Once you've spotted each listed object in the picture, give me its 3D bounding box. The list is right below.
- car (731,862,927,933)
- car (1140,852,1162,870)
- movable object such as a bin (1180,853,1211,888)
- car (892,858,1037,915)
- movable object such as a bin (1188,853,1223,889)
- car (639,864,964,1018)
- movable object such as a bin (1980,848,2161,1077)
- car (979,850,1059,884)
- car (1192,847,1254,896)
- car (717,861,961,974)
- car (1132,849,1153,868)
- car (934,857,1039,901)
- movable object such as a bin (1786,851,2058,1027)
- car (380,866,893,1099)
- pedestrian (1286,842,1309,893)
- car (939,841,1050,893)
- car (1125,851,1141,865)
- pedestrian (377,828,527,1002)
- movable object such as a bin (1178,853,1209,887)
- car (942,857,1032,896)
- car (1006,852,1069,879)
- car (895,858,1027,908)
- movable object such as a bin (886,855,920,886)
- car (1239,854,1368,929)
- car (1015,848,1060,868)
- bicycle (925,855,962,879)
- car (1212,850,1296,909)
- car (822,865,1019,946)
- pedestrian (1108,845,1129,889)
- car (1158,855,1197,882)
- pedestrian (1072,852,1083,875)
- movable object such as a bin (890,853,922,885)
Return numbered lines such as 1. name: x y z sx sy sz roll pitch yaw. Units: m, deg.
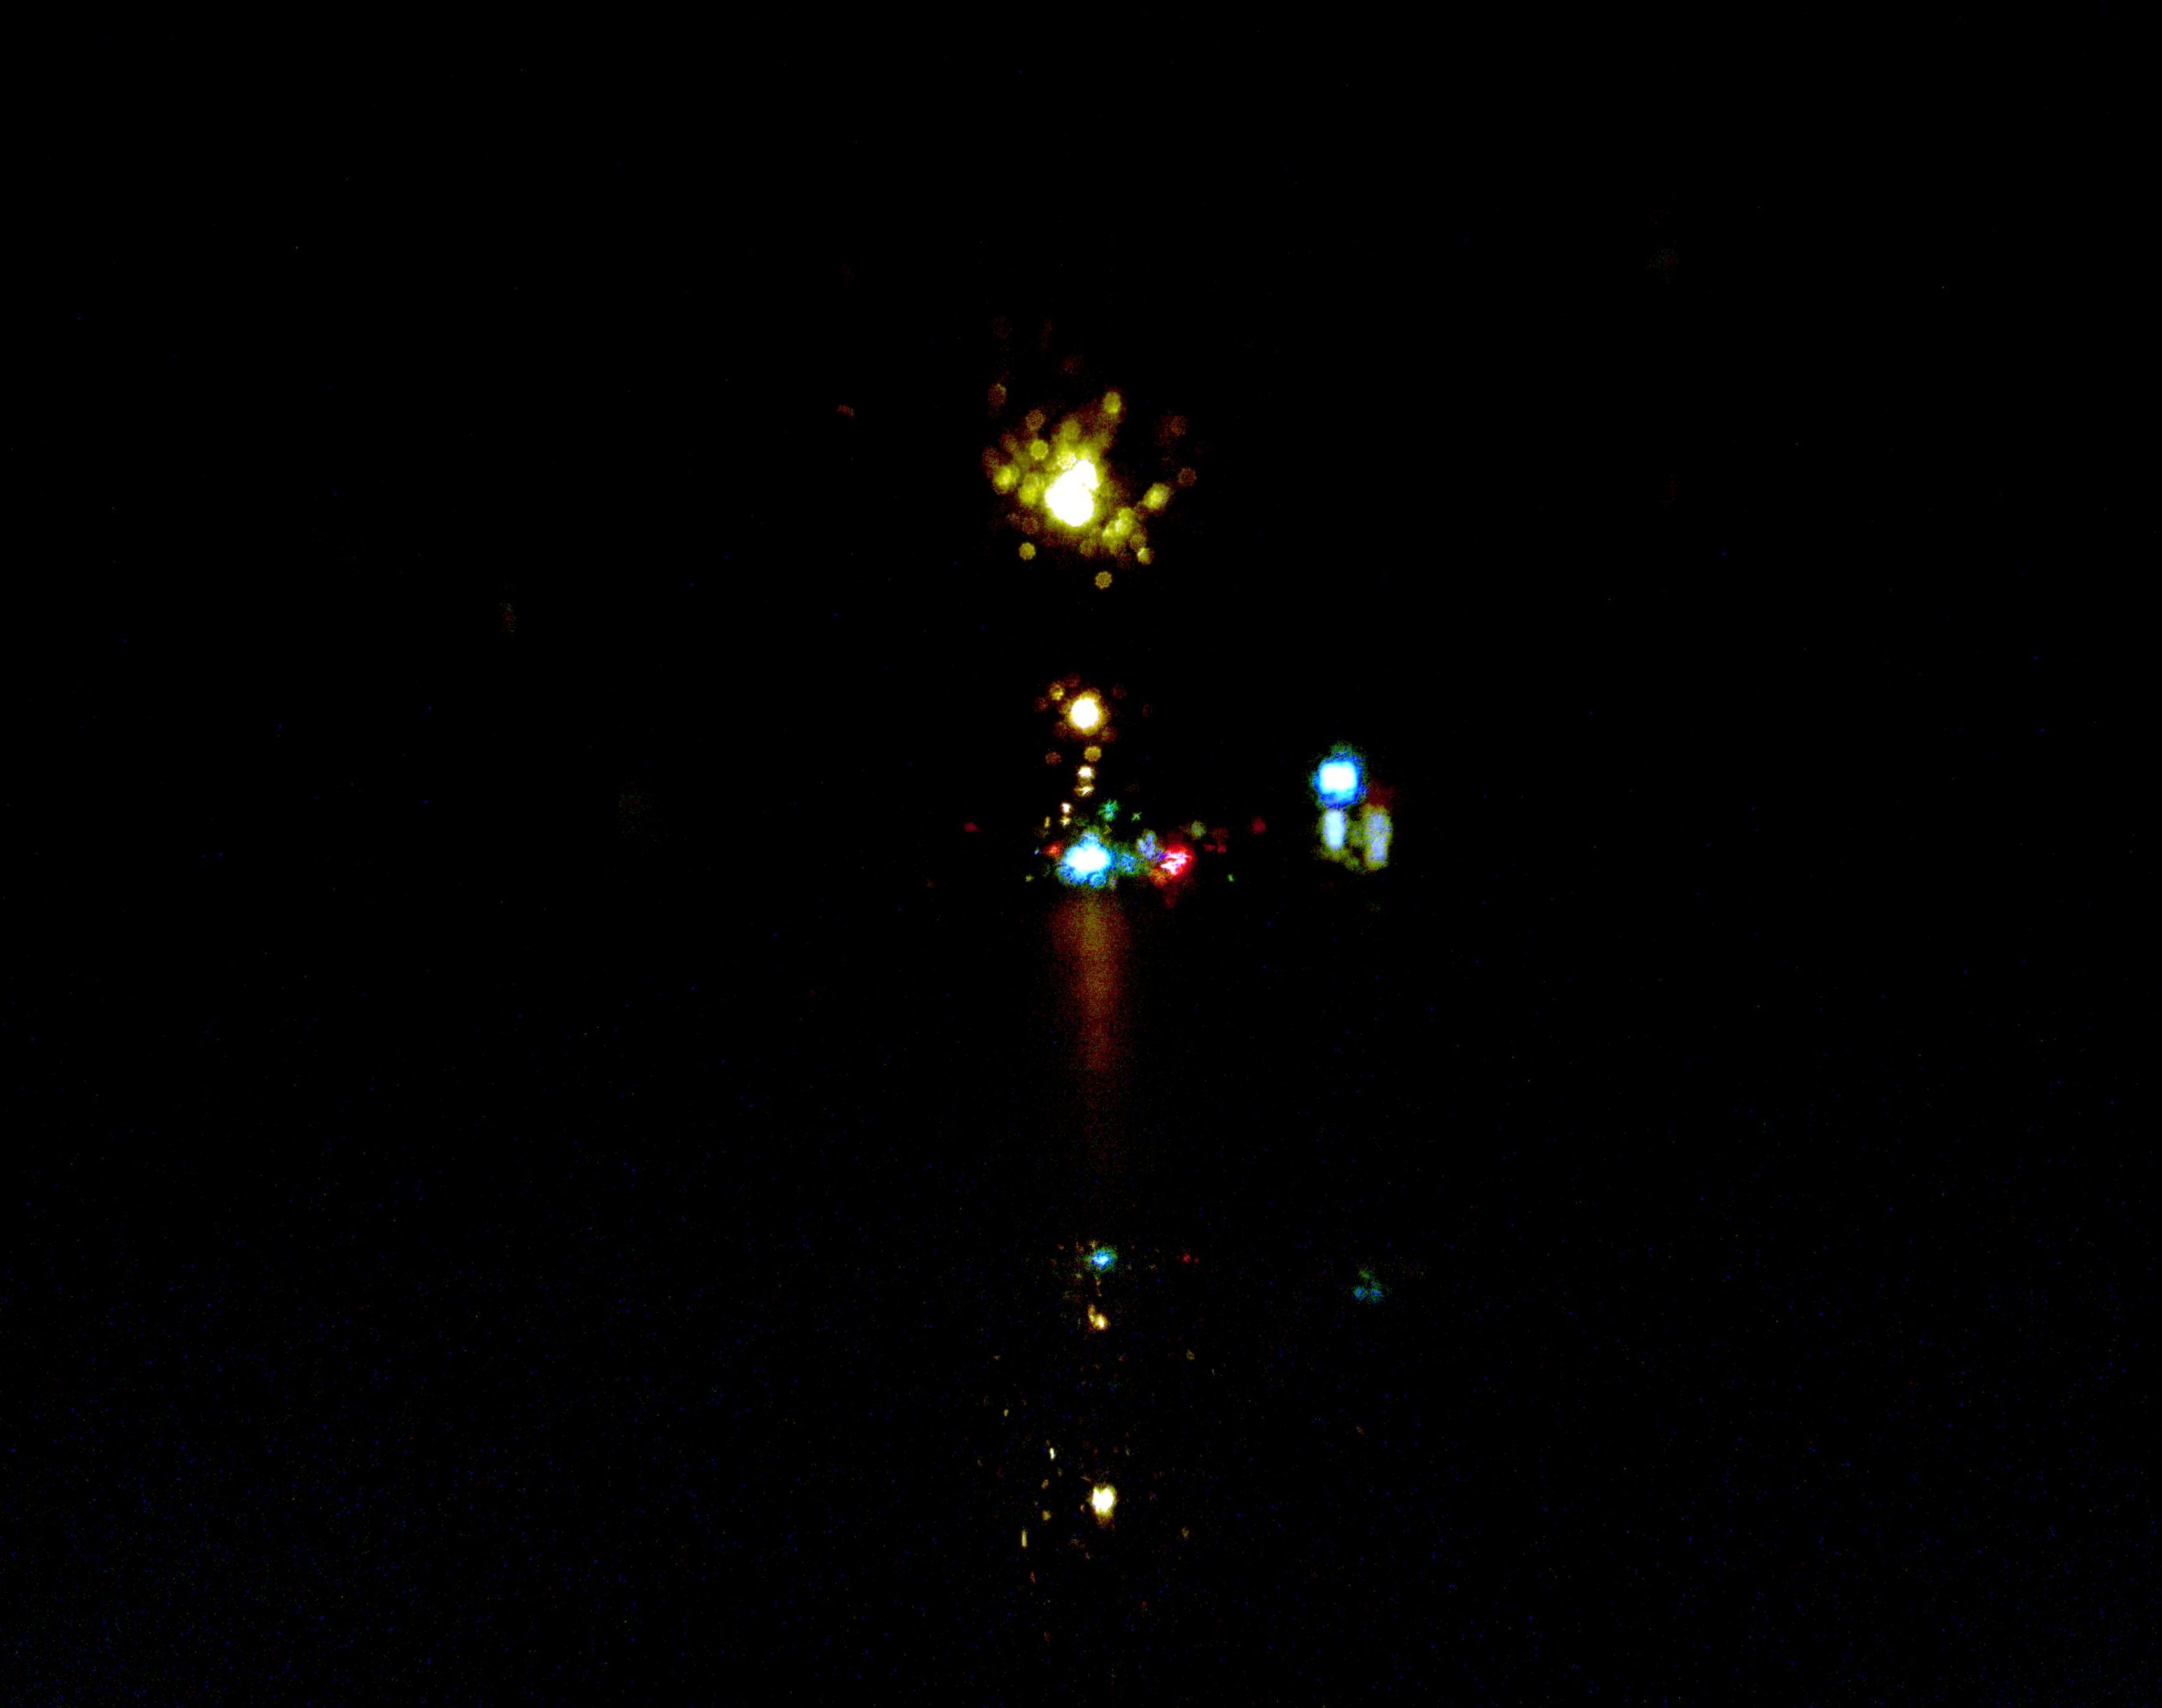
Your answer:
1. car: -5.729 0.925 17.389 4.007 1.443 1.684 0 0 -31
2. car: 6.268 0.621 68.495 1.550 1.434 3.562 -3 0 -1
3. movable object such as a bin: 5.080 0.733 33.729 1.167 1.451 1.107 -3 1 3
4. car: -3.552 0.930 23.415 4.007 1.543 1.800 0 1 -34
5. movable object such as a bin: 5.319 0.709 32.566 1.265 1.451 1.151 -3 1 3
6. car: -3.562 0.968 9.994 3.660 1.571 1.588 -2 0 -38
7. movable object such as a bin: 7.498 0.692 5.210 1.143 1.411 1.248 -3 0 3
8. car: -3.550 0.730 43.864 4.256 1.848 1.712 1 1 -35
9. car: 5.296 0.613 28.699 1.607 1.696 3.721 -2 0 0
10. car: -4.054 0.954 12.807 3.658 1.571 1.589 -2 0 -27
11. car: 6.280 0.415 78.095 1.871 1.835 4.827 -1 0 1
12. car: -3.596 0.905 29.064 3.659 1.533 1.556 0 1 -29
13. movable object such as a bin: 7.531 0.712 6.902 1.143 1.411 1.154 -3 1 3
14. car: -3.768 0.922 6.939 3.660 1.571 1.588 0 0 -34
15. pedestrian: 7.635 0.473 26.824 0.641 1.771 0.549 -1 1 1
16. car: -3.925 0.533 34.879 4.734 2.235 1.941 0 1 -35
17. car: 6.397 0.460 93.467 1.816 1.660 4.413 -1 0 6
18. pedestrian: -7.077 0.657 8.603 0.871 1.845 0.993 1 0 -2
19. movable object such as a bin: 5.160 0.722 34.904 1.211 1.451 1.107 -3 1 3
20. car: -3.951 0.896 32.101 3.407 1.533 1.573 0 1 -35
21. car: -3.141 0.829 55.086 4.112 1.754 1.855 -2 0 -27
22. car: -4.096 0.924 26.094 4.008 1.543 1.994 0 1 -37
23. movable object such as a bin: -8.287 0.773 35.457 1.258 1.364 0.998 3 1 1
24. car: 4.970 0.768 17.568 1.690 1.447 4.315 -2 0 0
25. car: -5.286 0.450 92.868 4.950 2.327 2.226 -1 1 -34
26. bicycle: -8.085 0.772 44.824 1.975 1.327 0.783 2 1 7
27. car: 5.107 0.708 22.953 1.607 1.543 4.025 -2 0 0
28. car: -3.304 0.984 15.867 3.690 1.452 1.600 0 1 -34
29. pedestrian: 1.721 0.606 34.810 0.645 2.001 0.676 1 0 -30
30. car: 5.357 0.769 42.555 1.658 1.351 4.222 -2 0 1
31. pedestrian: -0.248 0.743 59.297 0.824 1.760 1.177 -1 0 0
32. movable object such as a bin: -8.424 0.732 36.619 1.212 1.442 0.998 3 1 1
